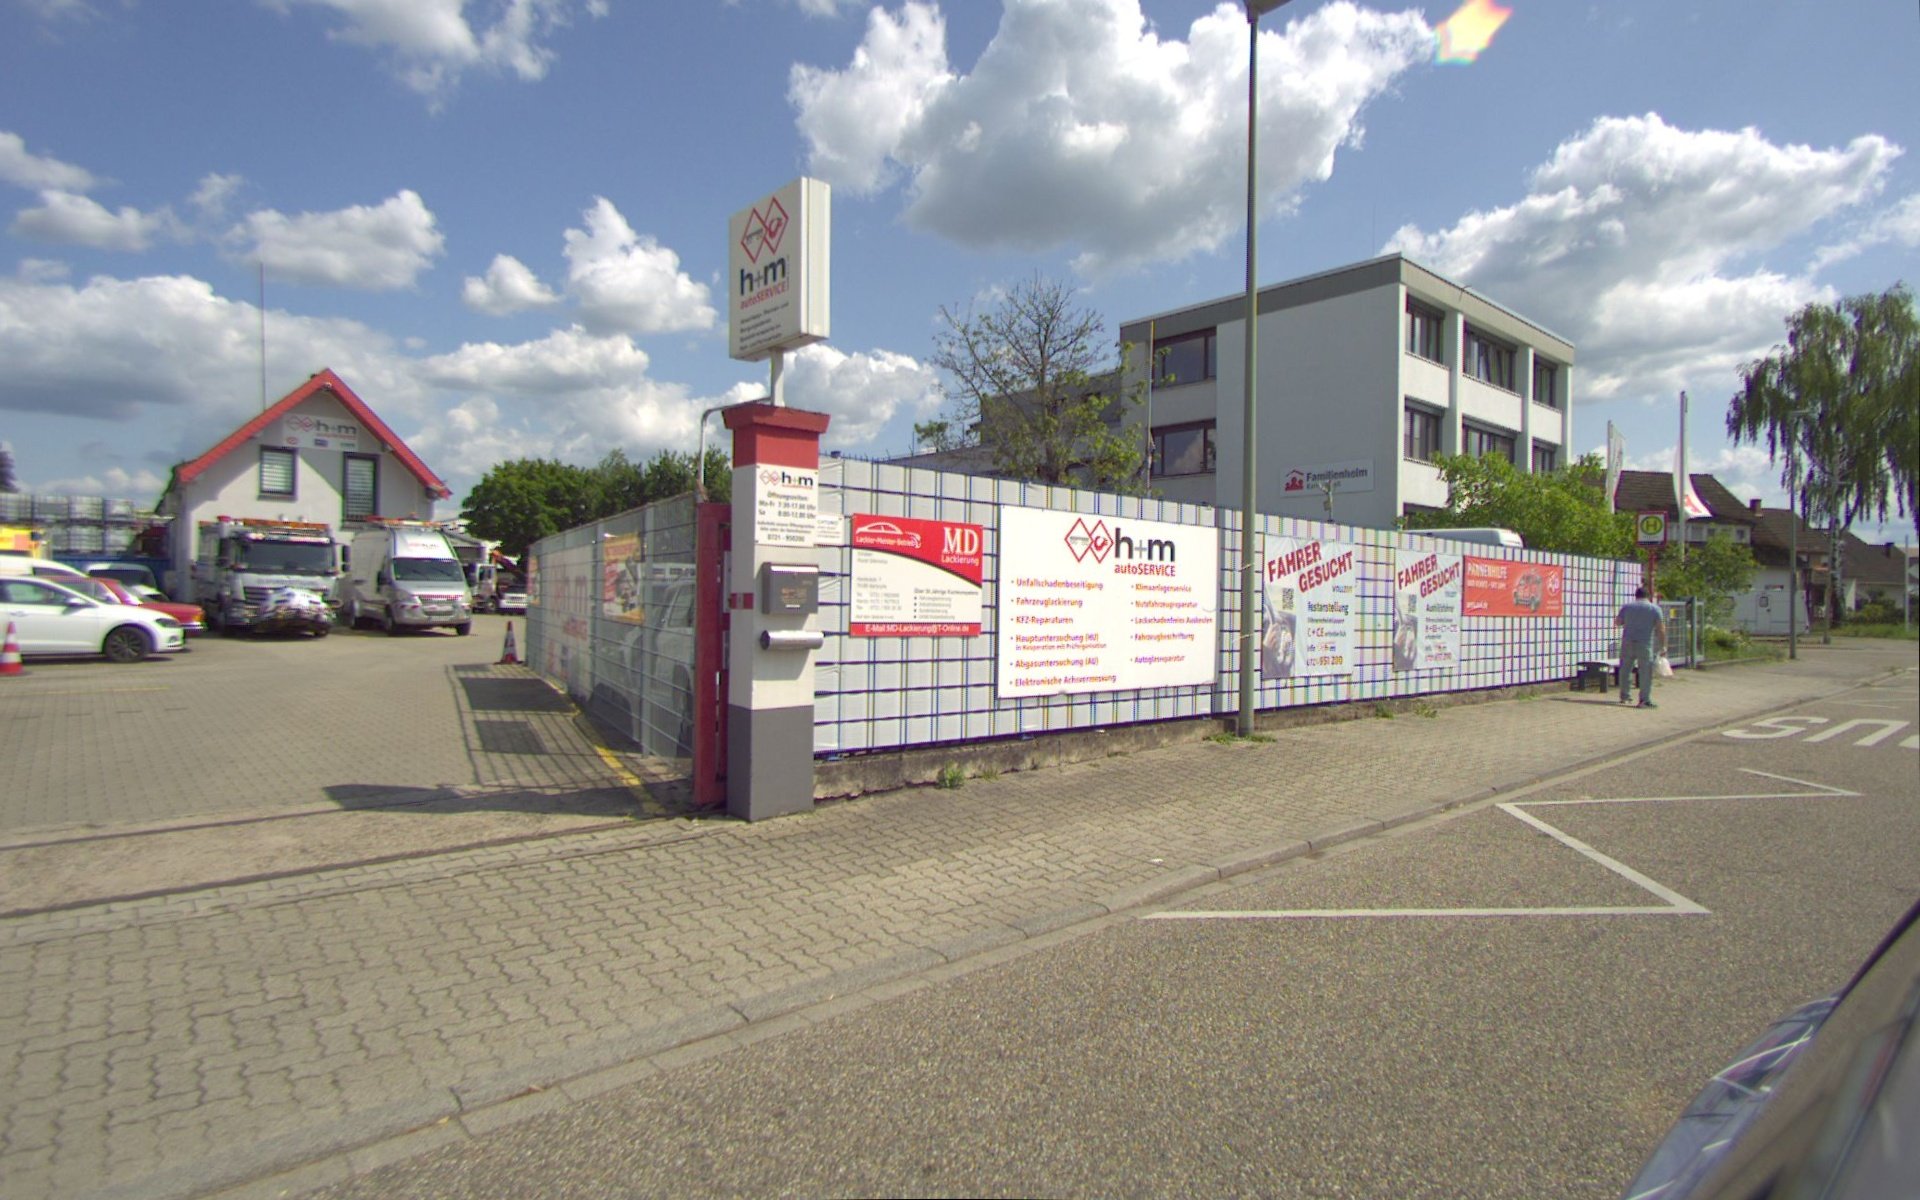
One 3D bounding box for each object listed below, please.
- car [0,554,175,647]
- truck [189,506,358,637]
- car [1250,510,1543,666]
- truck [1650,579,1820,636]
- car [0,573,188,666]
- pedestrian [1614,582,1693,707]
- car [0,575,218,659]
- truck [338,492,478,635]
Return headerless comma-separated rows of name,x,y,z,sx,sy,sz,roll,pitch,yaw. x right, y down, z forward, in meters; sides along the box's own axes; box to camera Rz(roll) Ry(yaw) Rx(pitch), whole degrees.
car,-18.609,-0.001,20.547,1.826,1.787,4.008,1,0,44
truck,-17.677,-0.647,25.820,2.767,2.882,7.265,1,0,-41
car,8.430,-0.224,19.846,4.904,2.685,2.041,1,0,42
truck,37.050,0.363,48.636,5.992,2.610,2.546,0,-1,24
car,-15.120,0.293,16.615,1.759,1.438,3.678,1,1,44
pedestrian,10.096,0.624,14.731,0.514,1.717,0.716,1,5,-45
car,-16.194,0.272,18.774,1.826,1.438,3.678,1,1,44
truck,-15.719,-0.946,28.582,2.105,3.573,6.705,1,0,-41
